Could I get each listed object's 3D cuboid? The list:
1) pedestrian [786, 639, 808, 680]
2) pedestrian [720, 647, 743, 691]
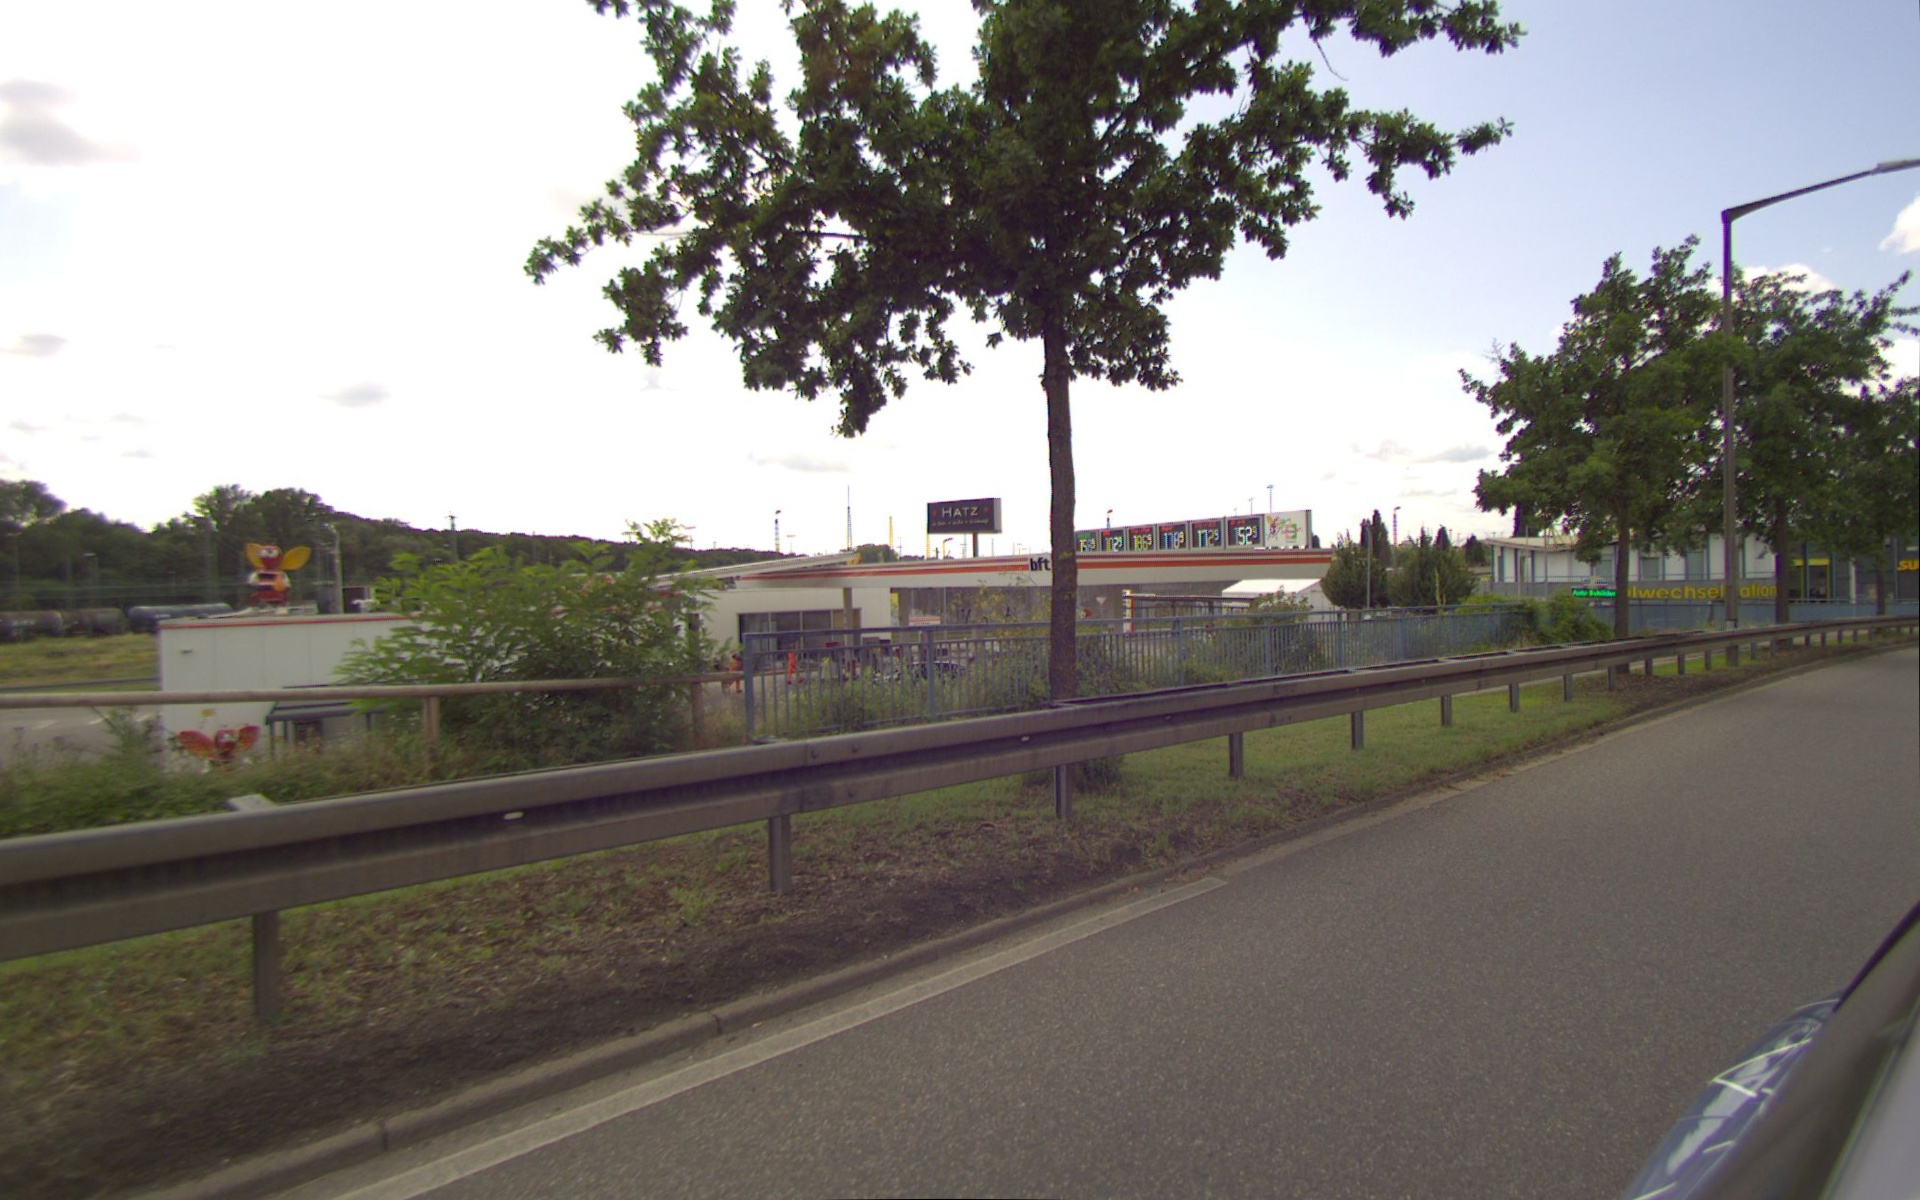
[{"bbox_3d":[-7.934,2.876,49.192,0.738,1.881,0.822,-3,2,-27],"label":"pedestrian"},{"bbox_3d":[-10.380,3.133,46.028,0.836,1.881,0.821,-1,1,0],"label":"pedestrian"}]
